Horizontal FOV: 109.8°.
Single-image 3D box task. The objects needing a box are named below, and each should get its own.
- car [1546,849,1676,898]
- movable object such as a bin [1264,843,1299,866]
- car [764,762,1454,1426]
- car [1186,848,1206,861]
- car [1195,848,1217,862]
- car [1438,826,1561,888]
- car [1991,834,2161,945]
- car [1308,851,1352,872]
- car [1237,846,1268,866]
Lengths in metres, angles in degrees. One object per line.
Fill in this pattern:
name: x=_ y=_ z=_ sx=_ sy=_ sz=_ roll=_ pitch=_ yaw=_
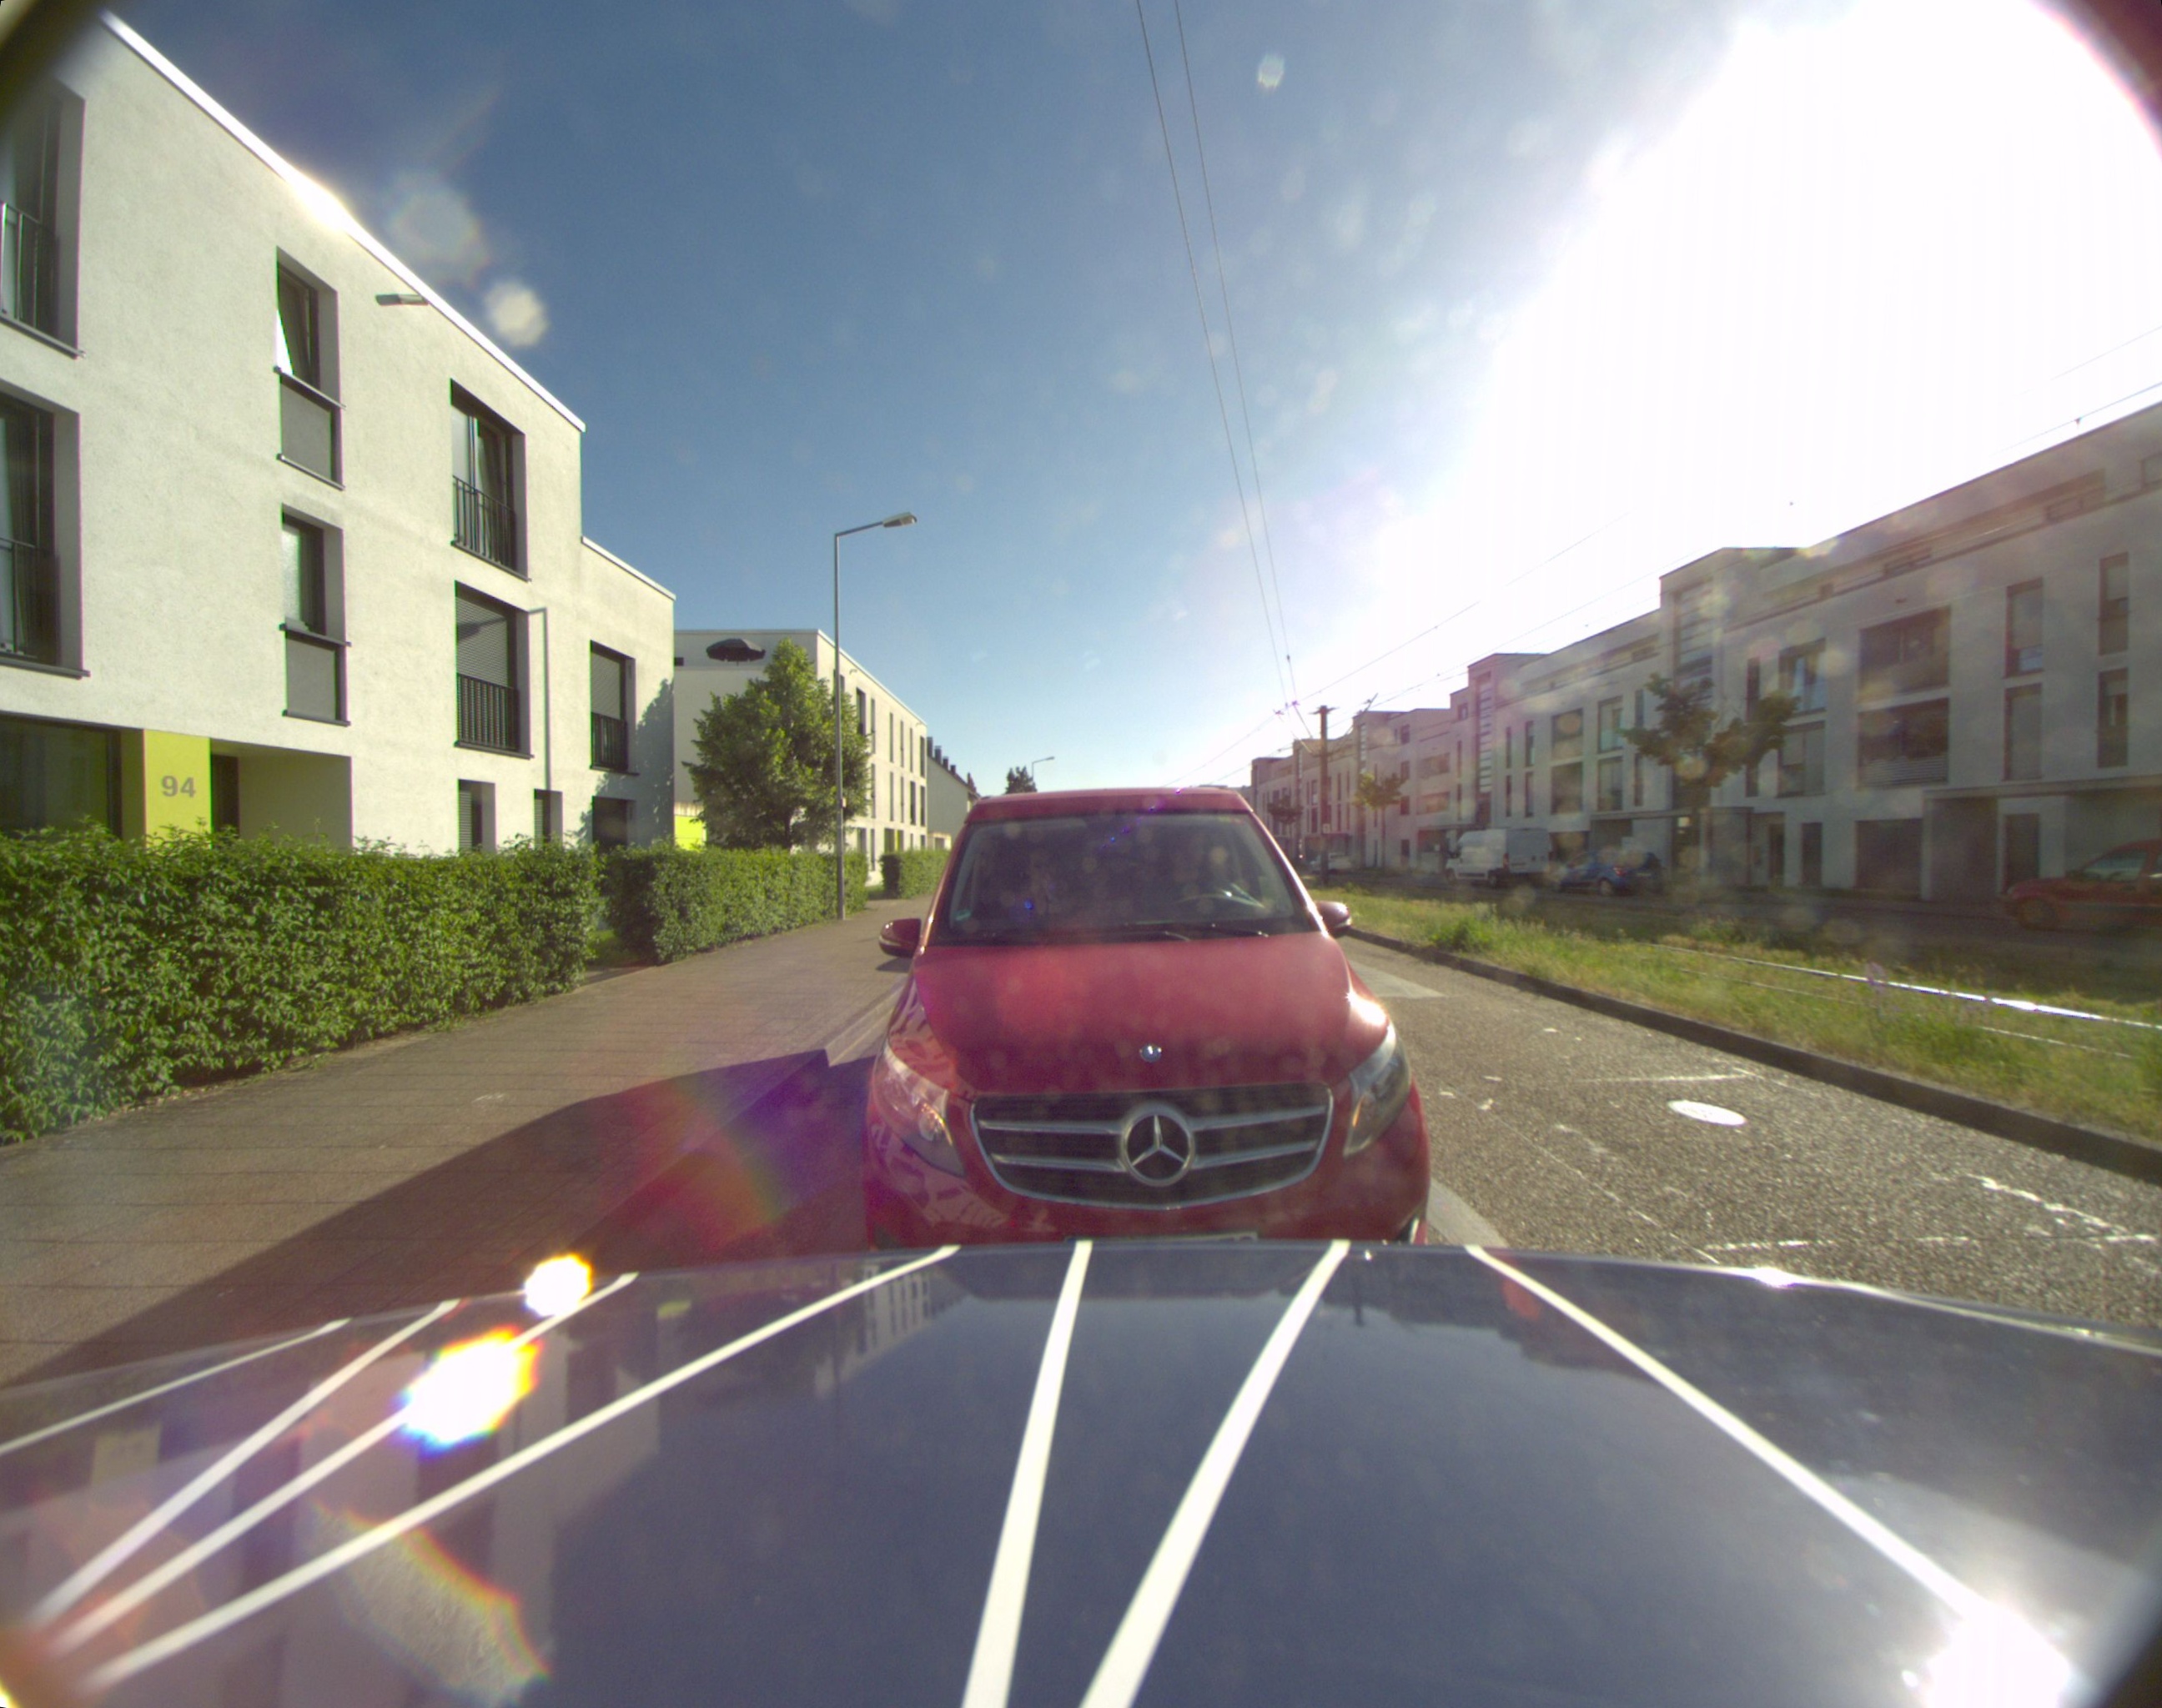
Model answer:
car: x=18.262 y=0.623 z=26.427 sx=1.829 sy=1.528 sz=3.842 roll=-2 pitch=0 yaw=0
movable object such as a bin: x=17.617 y=0.007 z=66.904 sx=1.766 sy=1.926 sz=4.155 roll=-2 pitch=0 yaw=-4
car: x=0.143 y=0.717 z=4.865 sx=1.979 sy=1.922 sz=5.205 roll=-2 pitch=0 yaw=1
car: x=15.044 y=0.059 z=99.567 sx=1.766 sy=1.590 sz=4.155 roll=-2 pitch=0 yaw=-4
car: x=15.432 y=0.089 z=93.933 sx=1.766 sy=1.590 sz=4.155 roll=-2 pitch=0 yaw=-4
car: x=18.167 y=0.109 z=33.383 sx=2.146 sy=2.430 sz=5.588 roll=-2 pitch=0 yaw=-1
car: x=18.578 y=0.571 z=12.817 sx=1.885 sy=1.785 sz=3.837 roll=-2 pitch=0 yaw=1
car: x=17.539 y=0.493 z=53.739 sx=1.521 sy=1.424 sz=4.155 roll=-2 pitch=0 yaw=-4
car: x=16.735 y=0.196 z=74.245 sx=1.766 sy=1.859 sz=4.155 roll=-2 pitch=0 yaw=-4
